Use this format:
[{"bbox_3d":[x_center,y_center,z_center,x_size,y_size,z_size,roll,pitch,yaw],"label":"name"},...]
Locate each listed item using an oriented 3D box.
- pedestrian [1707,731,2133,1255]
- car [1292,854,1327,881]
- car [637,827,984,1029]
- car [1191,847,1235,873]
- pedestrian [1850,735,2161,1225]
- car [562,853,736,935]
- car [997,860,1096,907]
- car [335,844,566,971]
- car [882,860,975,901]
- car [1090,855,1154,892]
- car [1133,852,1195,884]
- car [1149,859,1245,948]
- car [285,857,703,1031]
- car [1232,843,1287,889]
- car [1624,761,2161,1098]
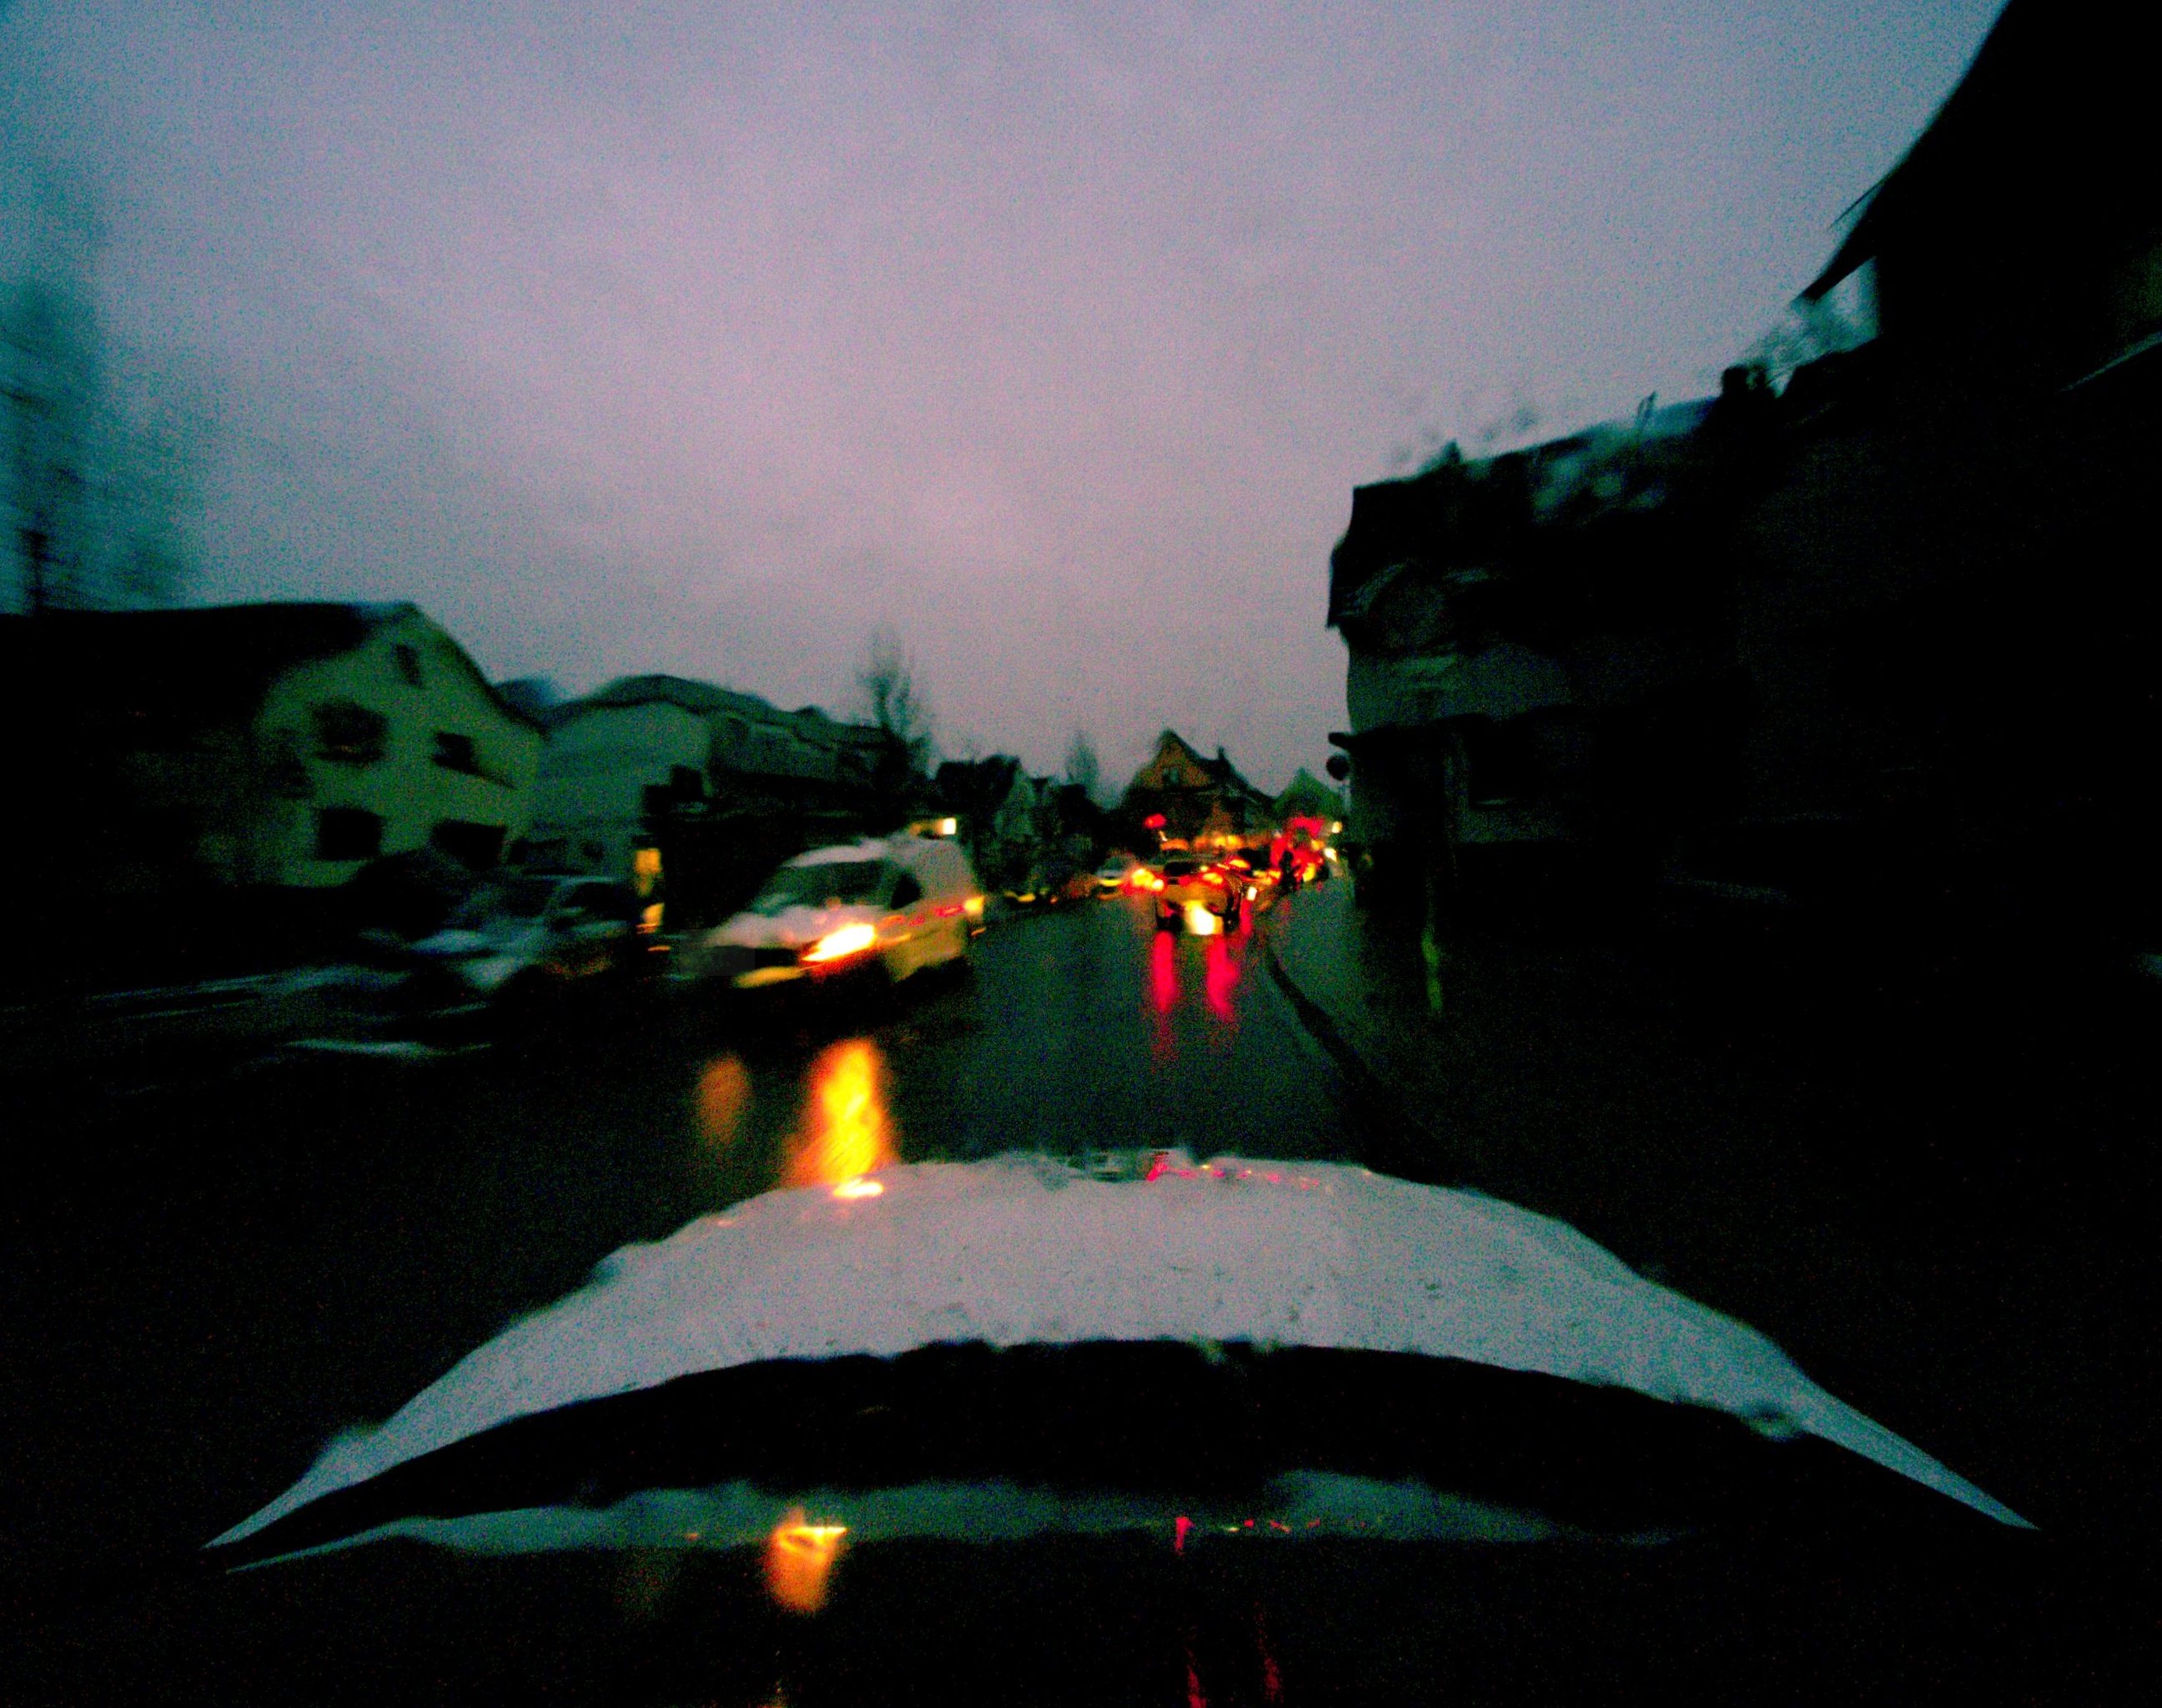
[{"bbox_3d":[3.074,0.462,3.091,0.710,1.699,0.805,-3,-1,3],"label":"pedestrian"},{"bbox_3d":[12.843,0.729,45.672,1.636,1.442,3.885,-2,-1,19],"label":"car"},{"bbox_3d":[-2.811,0.695,9.923,1.935,1.750,4.861,-4,-1,8],"label":"car"},{"bbox_3d":[8.039,0.346,49.467,1.655,1.516,4.023,0,0,24],"label":"car"},{"bbox_3d":[3.706,0.429,3.191,0.576,1.669,0.792,-3,-1,4],"label":"pedestrian"},{"bbox_3d":[-11.044,1.016,20.898,3.683,1.904,1.767,-3,0,16],"label":"car"},{"bbox_3d":[-1.111,0.972,28.512,1.731,1.472,4.482,-1,0,22],"label":"car"},{"bbox_3d":[-11.625,0.943,14.850,5.327,1.885,2.087,-4,-1,39],"label":"car"},{"bbox_3d":[-6.262,1.099,33.193,1.750,1.477,4.038,-3,-1,-43],"label":"car"},{"bbox_3d":[1.870,0.823,35.851,1.678,1.516,3.793,-1,0,21],"label":"car"},{"bbox_3d":[4.239,0.674,40.999,1.733,1.516,4.367,0,0,25],"label":"car"},{"bbox_3d":[2.897,1.100,19.920,1.981,1.795,4.661,-2,0,10],"label":"car"},{"bbox_3d":[-6.145,0.822,9.155,1.825,1.535,3.680,-1,0,4],"label":"car"},{"bbox_3d":[7.109,0.456,32.124,1.784,1.662,4.017,-1,-1,17],"label":"car"},{"bbox_3d":[5.717,0.316,5.250,1.731,1.561,3.657,-3,0,-5],"label":"car"}]
